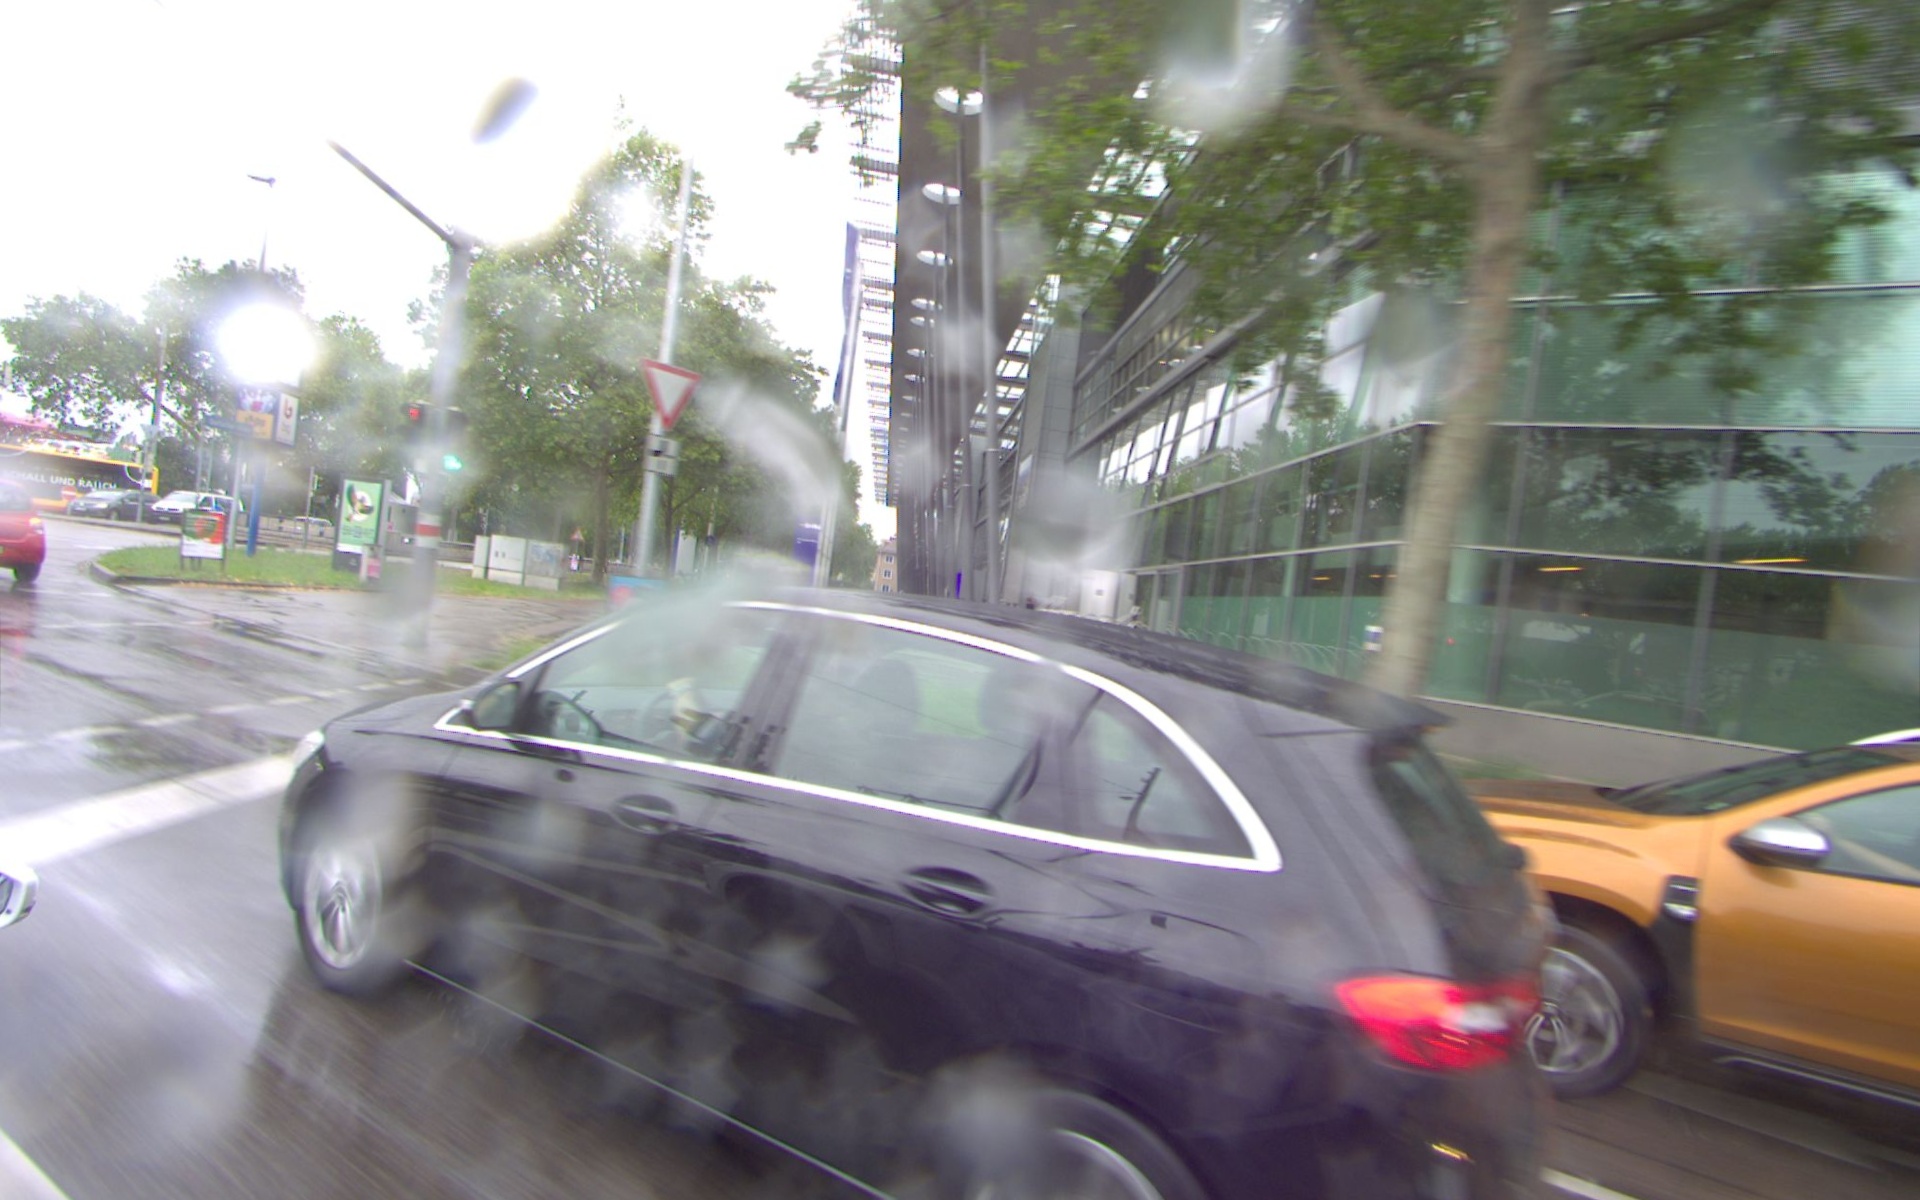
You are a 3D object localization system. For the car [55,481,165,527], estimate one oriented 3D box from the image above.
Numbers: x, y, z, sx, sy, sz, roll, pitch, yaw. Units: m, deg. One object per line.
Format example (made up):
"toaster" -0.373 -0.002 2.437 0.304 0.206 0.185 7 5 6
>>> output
"car" -41.945 -4.696 49.778 1.900 1.671 4.337 7 0 -6

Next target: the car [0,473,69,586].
"car" -15.008 -1.222 14.836 3.560 1.509 1.682 8 -1 31

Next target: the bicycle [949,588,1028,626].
"bicycle" 1.391 0.356 48.713 3.657 1.348 1.182 8 1 -31

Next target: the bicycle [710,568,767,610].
"bicycle" -9.364 -0.466 42.458 2.635 1.459 0.803 7 -1 42

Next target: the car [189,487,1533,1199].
"car" -0.499 0.654 3.358 4.018 1.542 1.873 8 0 31

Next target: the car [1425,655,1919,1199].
"car" 4.192 1.336 3.812 4.099 1.652 1.903 8 0 31

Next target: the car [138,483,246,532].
"car" -39.378 -4.697 51.769 2.041 1.872 4.741 7 0 -5

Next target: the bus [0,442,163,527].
"bus" -48.321 -6.246 50.691 3.219 3.308 12.267 8 0 30

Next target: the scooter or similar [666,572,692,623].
"scooter or similar" -6.722 -0.074 24.078 0.335 1.153 1.173 7 1 -8

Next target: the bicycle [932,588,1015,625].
"bicycle" 0.681 0.321 50.745 3.933 1.349 1.189 8 1 -10
